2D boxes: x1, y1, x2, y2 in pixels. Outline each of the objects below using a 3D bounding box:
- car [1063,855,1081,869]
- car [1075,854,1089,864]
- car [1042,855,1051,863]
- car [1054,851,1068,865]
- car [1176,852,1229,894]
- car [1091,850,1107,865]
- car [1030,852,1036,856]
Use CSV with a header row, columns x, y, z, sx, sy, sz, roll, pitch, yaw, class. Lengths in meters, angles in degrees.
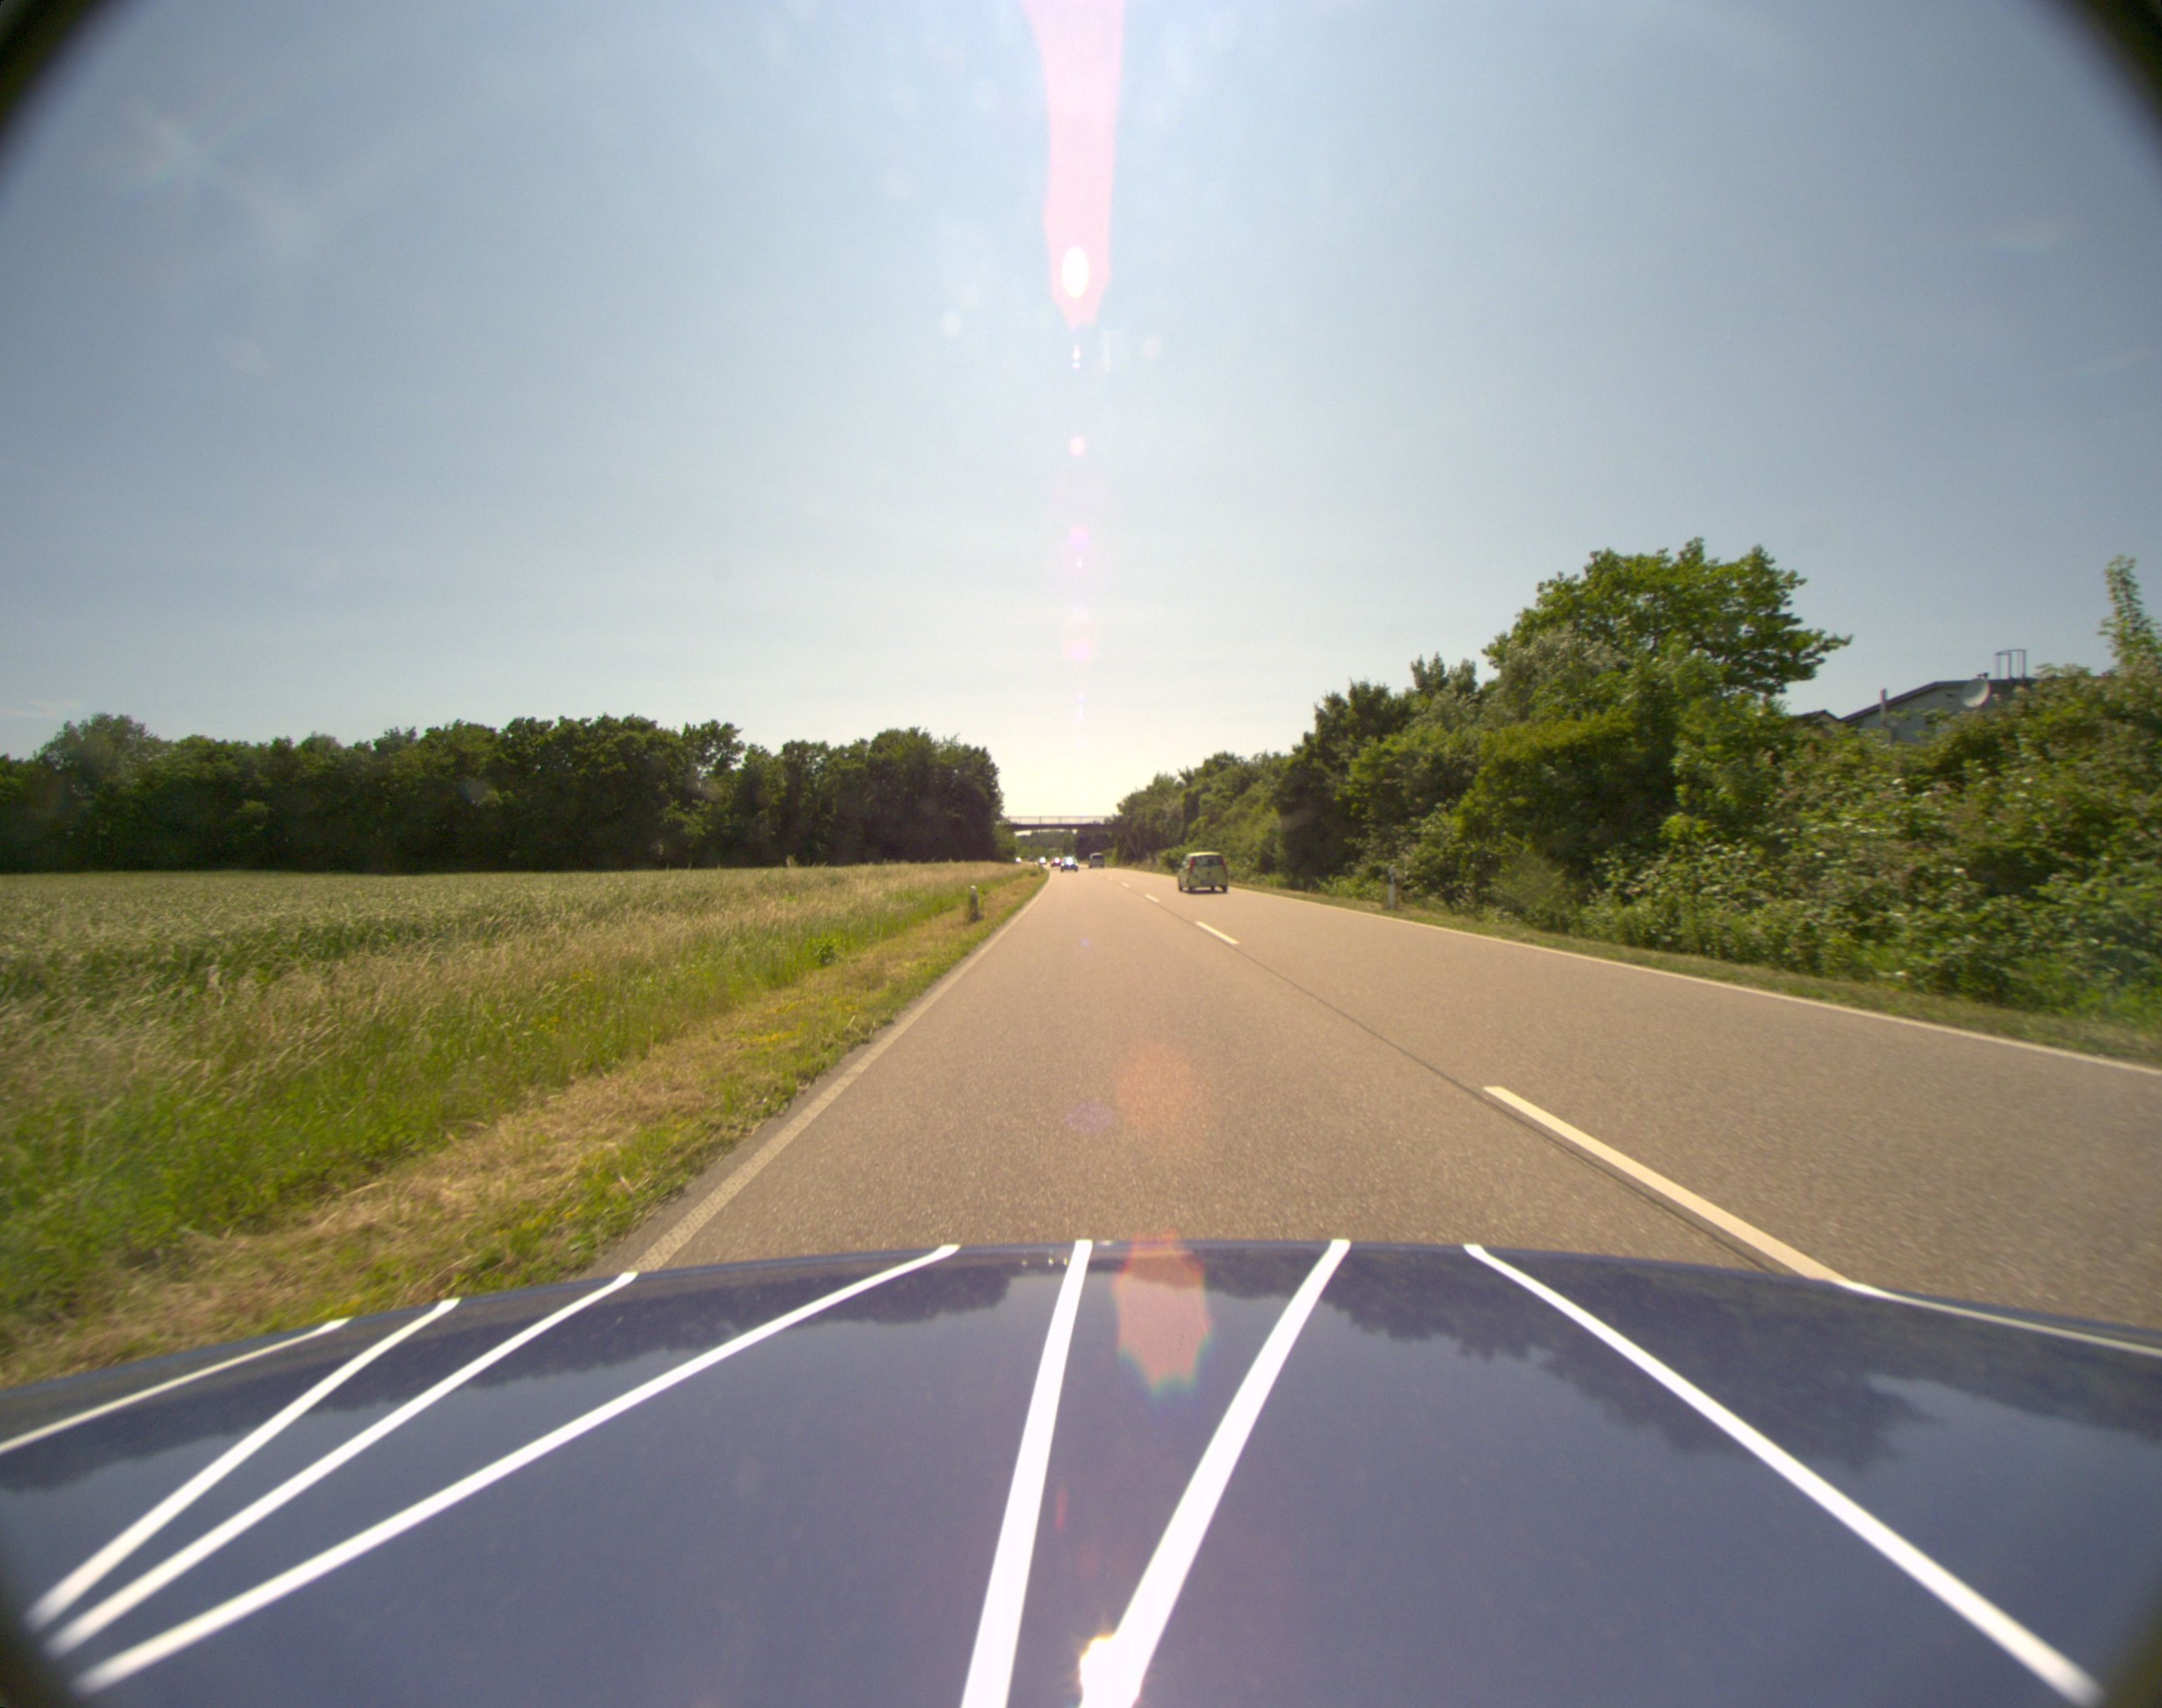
x,y,z,sx,sy,sz,roll,pitch,yaw,class
-0.989,0.794,79.759,1.693,1.431,3.709,-1,0,-3,car
0.154,0.996,148.131,2.070,1.755,5.130,-3,1,-7,car
-7.427,1.130,164.897,1.553,1.659,3.999,-3,1,0,car
-3.150,0.632,117.525,1.999,2.002,3.999,-2,0,-3,car
4.742,0.710,29.992,1.500,1.487,3.832,-2,0,1,car
2.262,0.457,97.302,1.767,1.808,4.803,-2,0,-2,car
-15.628,-0.007,248.238,1.999,1.521,5.505,0,0,-5,car
